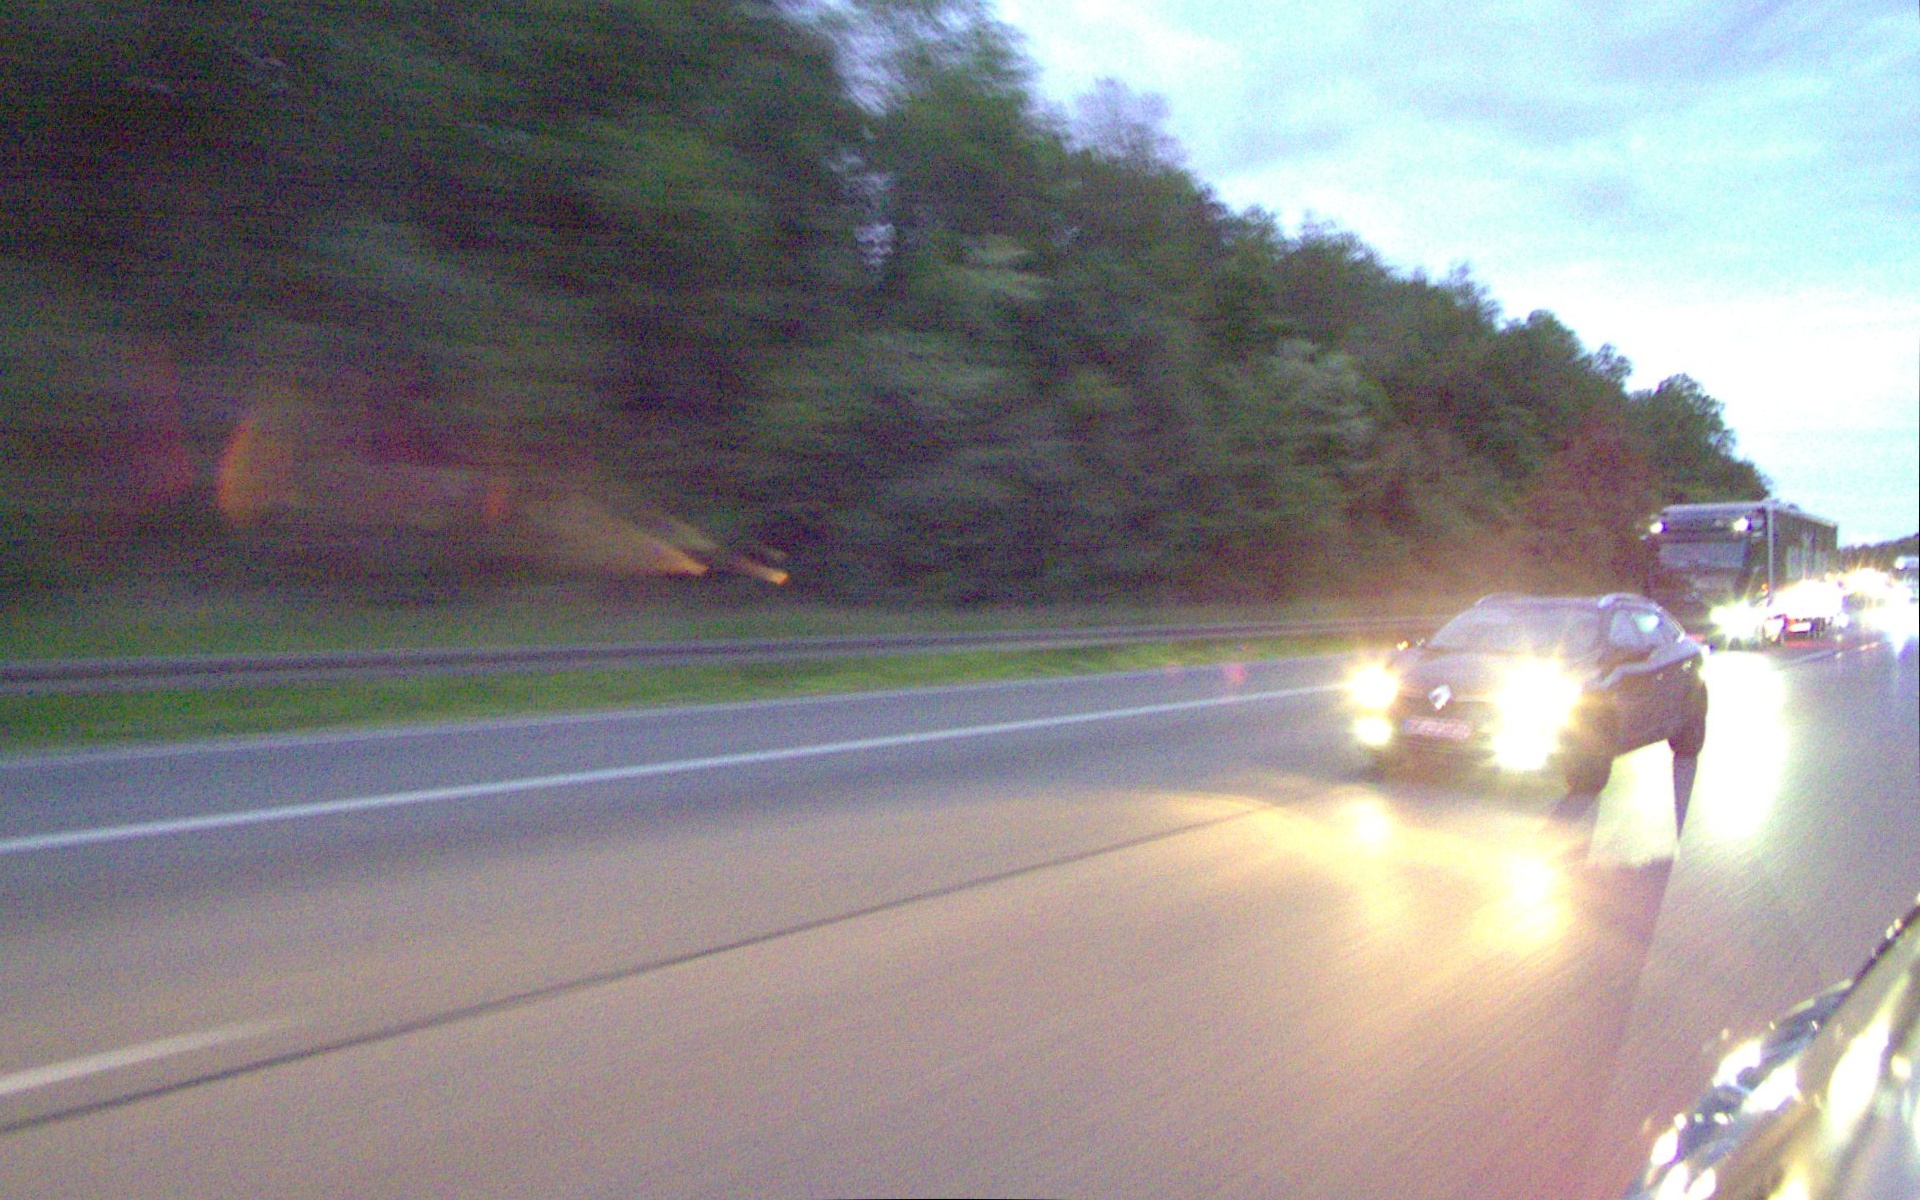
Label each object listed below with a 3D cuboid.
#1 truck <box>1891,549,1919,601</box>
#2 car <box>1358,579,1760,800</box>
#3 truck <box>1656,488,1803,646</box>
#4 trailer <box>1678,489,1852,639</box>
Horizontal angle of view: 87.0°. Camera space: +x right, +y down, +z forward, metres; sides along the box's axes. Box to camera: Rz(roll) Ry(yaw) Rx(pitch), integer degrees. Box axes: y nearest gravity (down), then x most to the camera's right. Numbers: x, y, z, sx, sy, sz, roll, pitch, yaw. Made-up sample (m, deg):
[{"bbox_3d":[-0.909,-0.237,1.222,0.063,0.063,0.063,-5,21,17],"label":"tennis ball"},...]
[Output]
[{"bbox_3d":[79.415,-2.065,83.133,13.310,4.017,3.336,-1,1,-43],"label":"truck"},{"bbox_3d":[5.671,0.583,9.267,4.862,1.508,1.694,-1,1,-40],"label":"car"},{"bbox_3d":[21.706,-0.897,28.455,5.499,4.017,2.493,-1,1,-44],"label":"truck"},{"bbox_3d":[26.740,-1.124,33.217,13.277,4.124,2.486,-1,1,-43],"label":"trailer"}]
